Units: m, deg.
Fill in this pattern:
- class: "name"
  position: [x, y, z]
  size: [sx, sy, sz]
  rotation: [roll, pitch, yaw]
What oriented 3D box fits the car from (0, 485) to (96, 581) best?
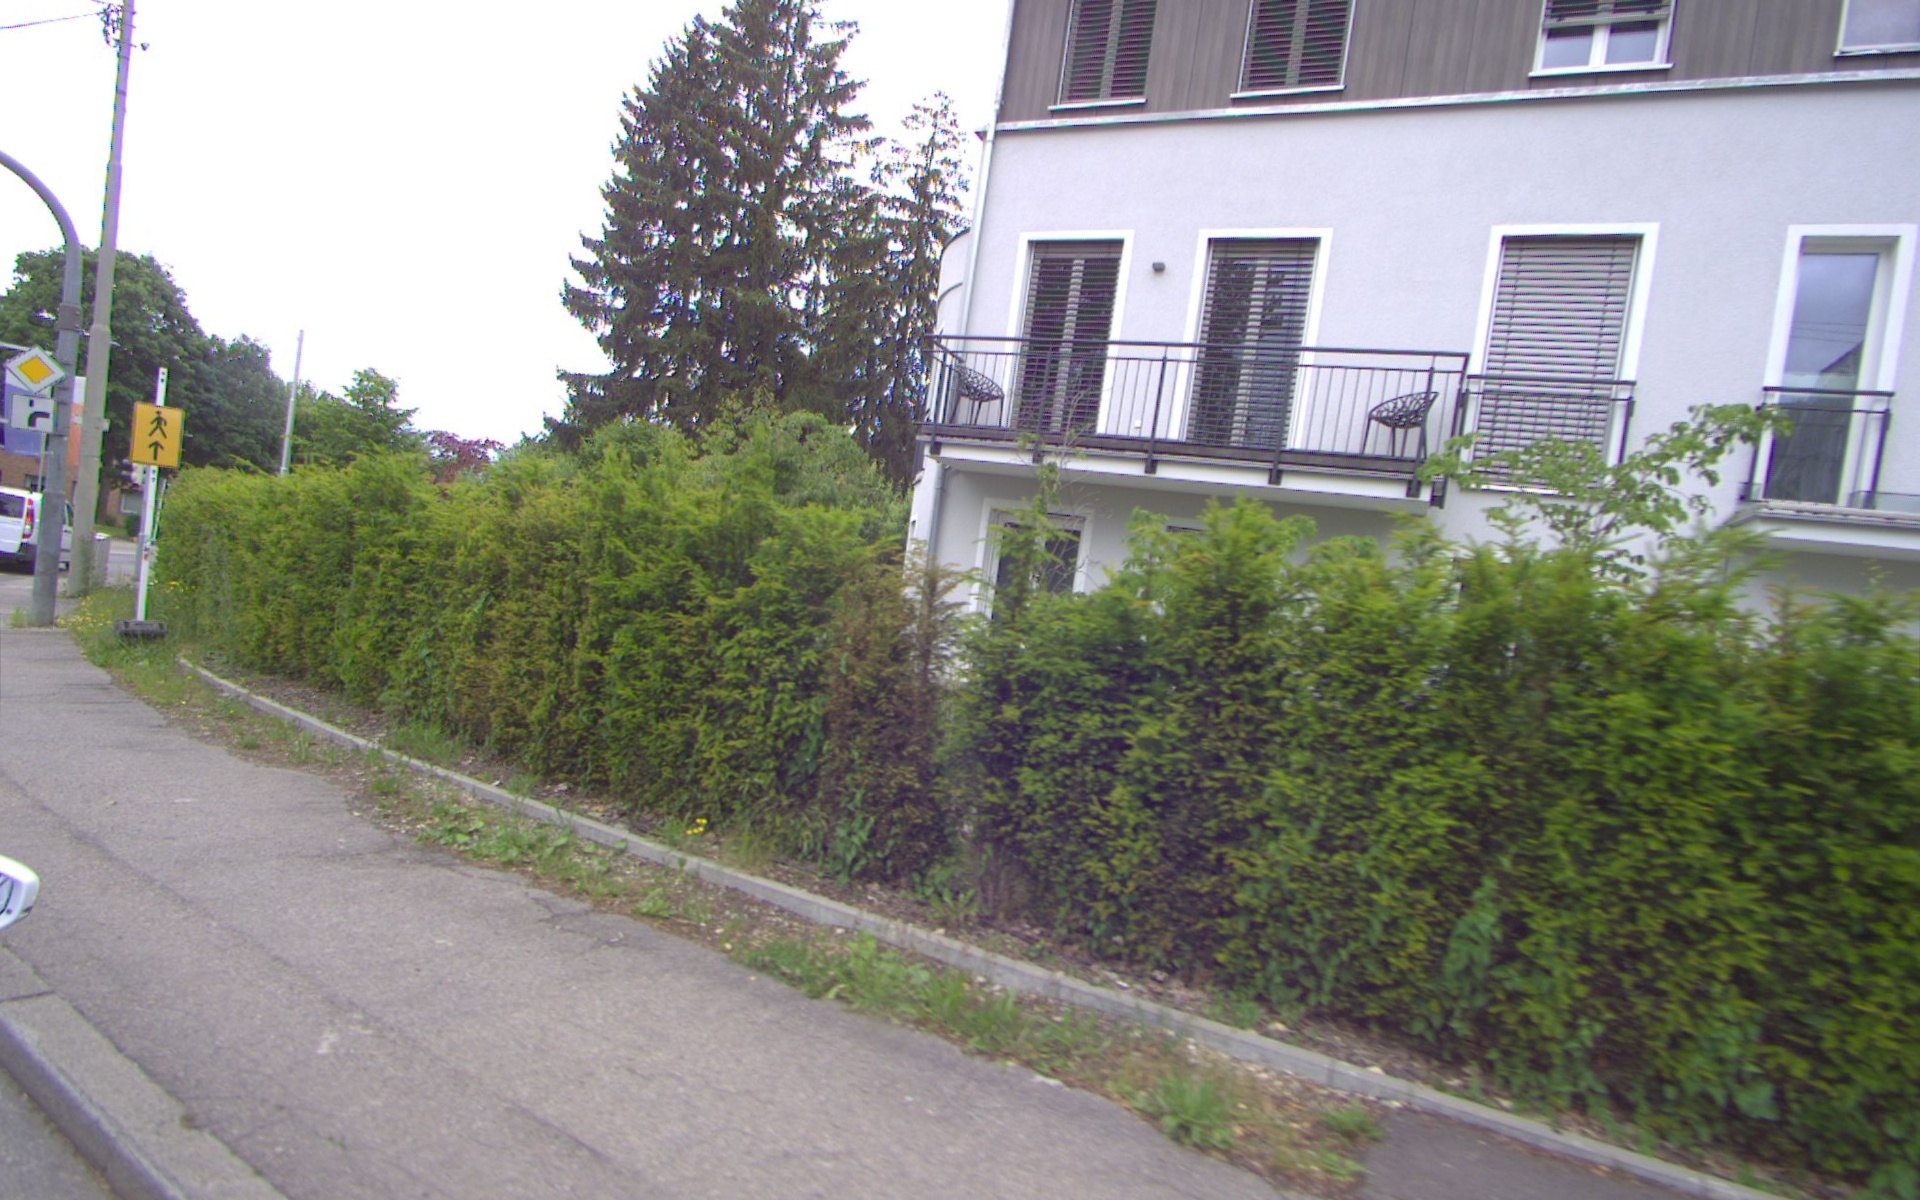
- class: "car"
  position: [-22.865, -1.680, 24.243]
  size: [1.948, 2.036, 4.396]
  rotation: [10, -2, -28]
